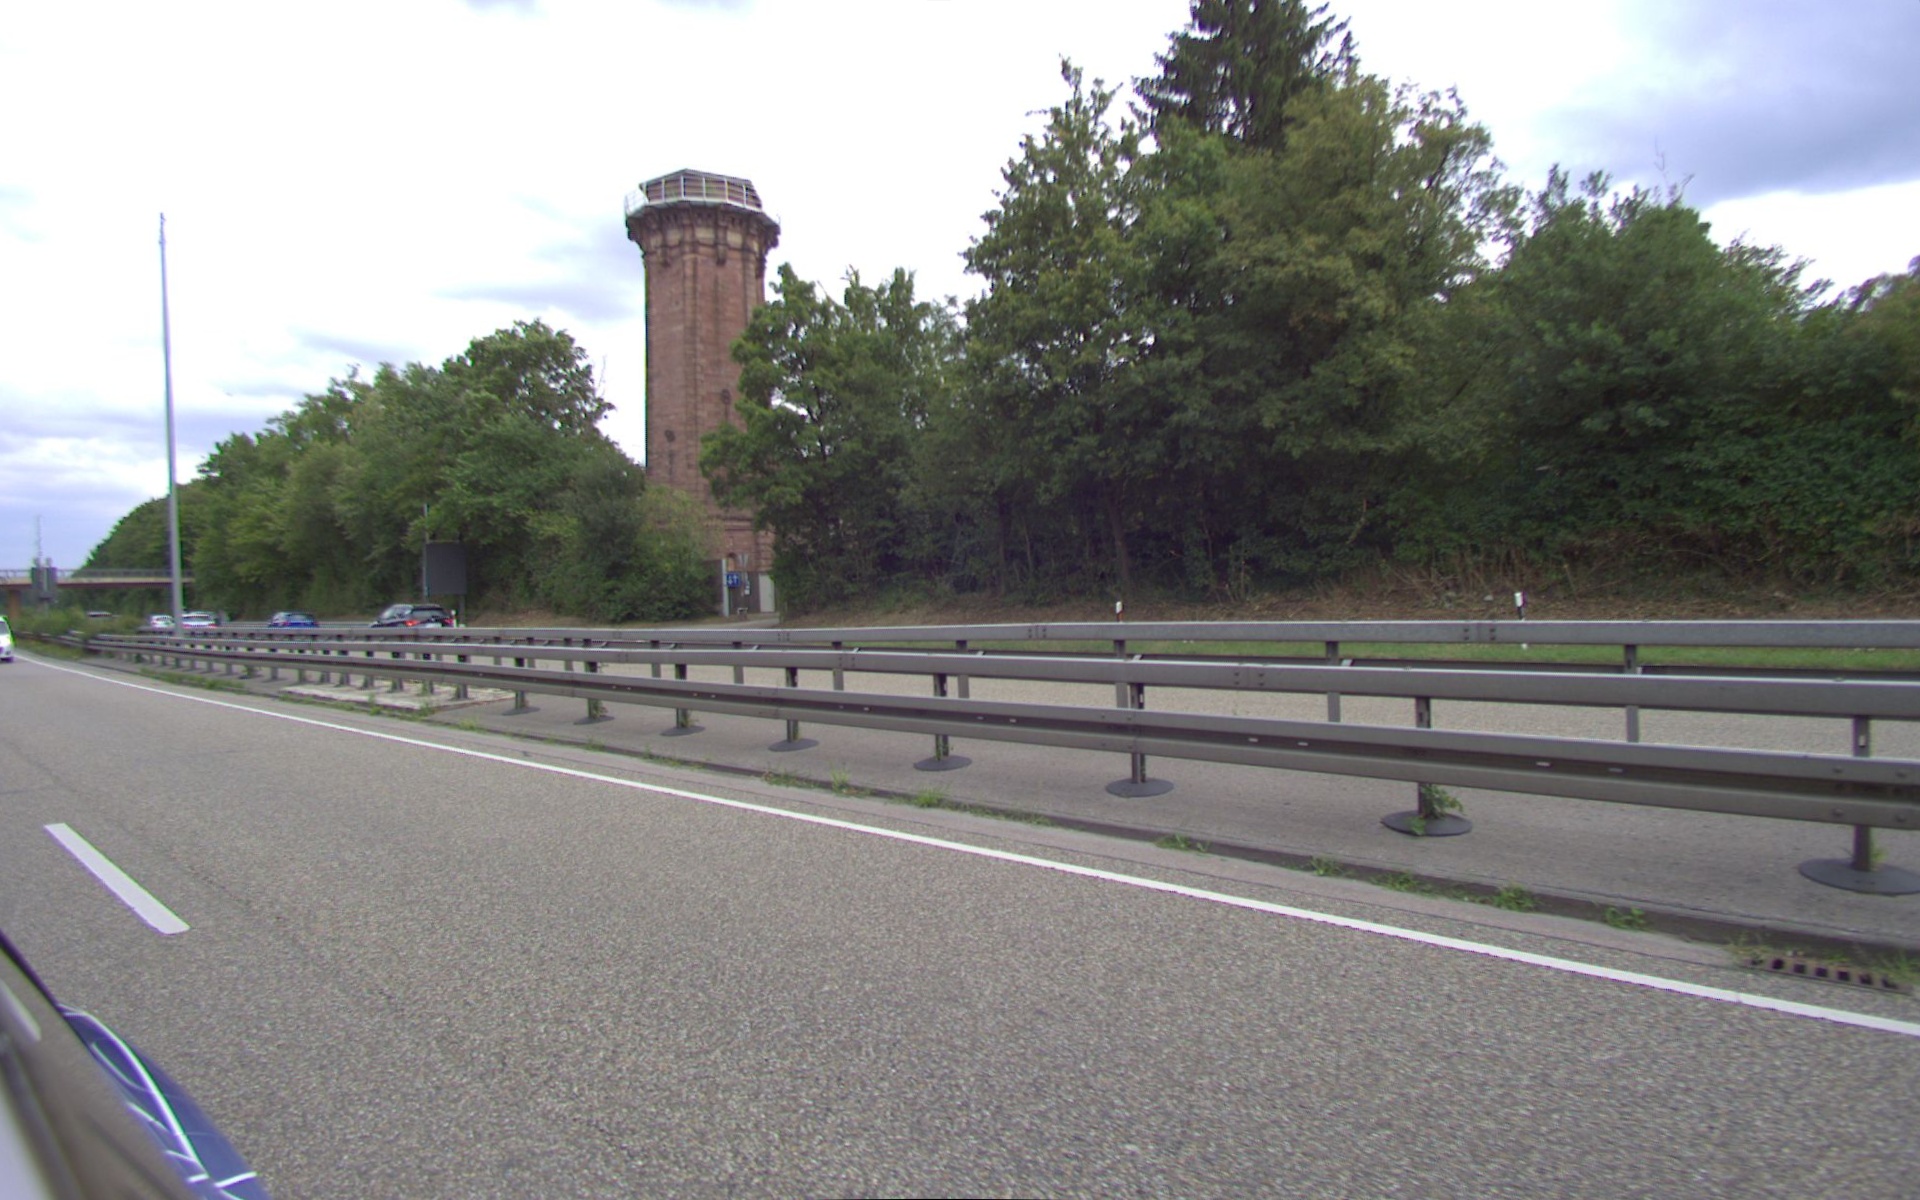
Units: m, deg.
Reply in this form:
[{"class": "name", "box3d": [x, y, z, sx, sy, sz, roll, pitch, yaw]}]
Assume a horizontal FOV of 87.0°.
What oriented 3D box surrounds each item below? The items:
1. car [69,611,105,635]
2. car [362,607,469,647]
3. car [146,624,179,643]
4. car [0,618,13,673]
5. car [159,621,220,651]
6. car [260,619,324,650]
[{"class": "car", "box3d": [-68.445, 1.813, 79.306, 4.543, 1.783, 1.742, -1, -1, 44]}, {"class": "car", "box3d": [-19.097, 0.916, 35.437, 4.065, 1.309, 1.957, -1, -1, 40]}, {"class": "car", "box3d": [-64.947, 2.710, 82.387, 3.728, 1.519, 1.611, -1, -1, 43]}, {"class": "car", "box3d": [-36.979, 1.684, 37.942, 4.422, 2.020, 1.797, -1, -1, 42]}, {"class": "car", "box3d": [-38.782, 1.798, 50.923, 4.055, 1.438, 1.694, -1, -1, 42]}, {"class": "car", "box3d": [-34.144, 1.731, 51.693, 4.055, 1.461, 1.792, -1, -1, 42]}]
